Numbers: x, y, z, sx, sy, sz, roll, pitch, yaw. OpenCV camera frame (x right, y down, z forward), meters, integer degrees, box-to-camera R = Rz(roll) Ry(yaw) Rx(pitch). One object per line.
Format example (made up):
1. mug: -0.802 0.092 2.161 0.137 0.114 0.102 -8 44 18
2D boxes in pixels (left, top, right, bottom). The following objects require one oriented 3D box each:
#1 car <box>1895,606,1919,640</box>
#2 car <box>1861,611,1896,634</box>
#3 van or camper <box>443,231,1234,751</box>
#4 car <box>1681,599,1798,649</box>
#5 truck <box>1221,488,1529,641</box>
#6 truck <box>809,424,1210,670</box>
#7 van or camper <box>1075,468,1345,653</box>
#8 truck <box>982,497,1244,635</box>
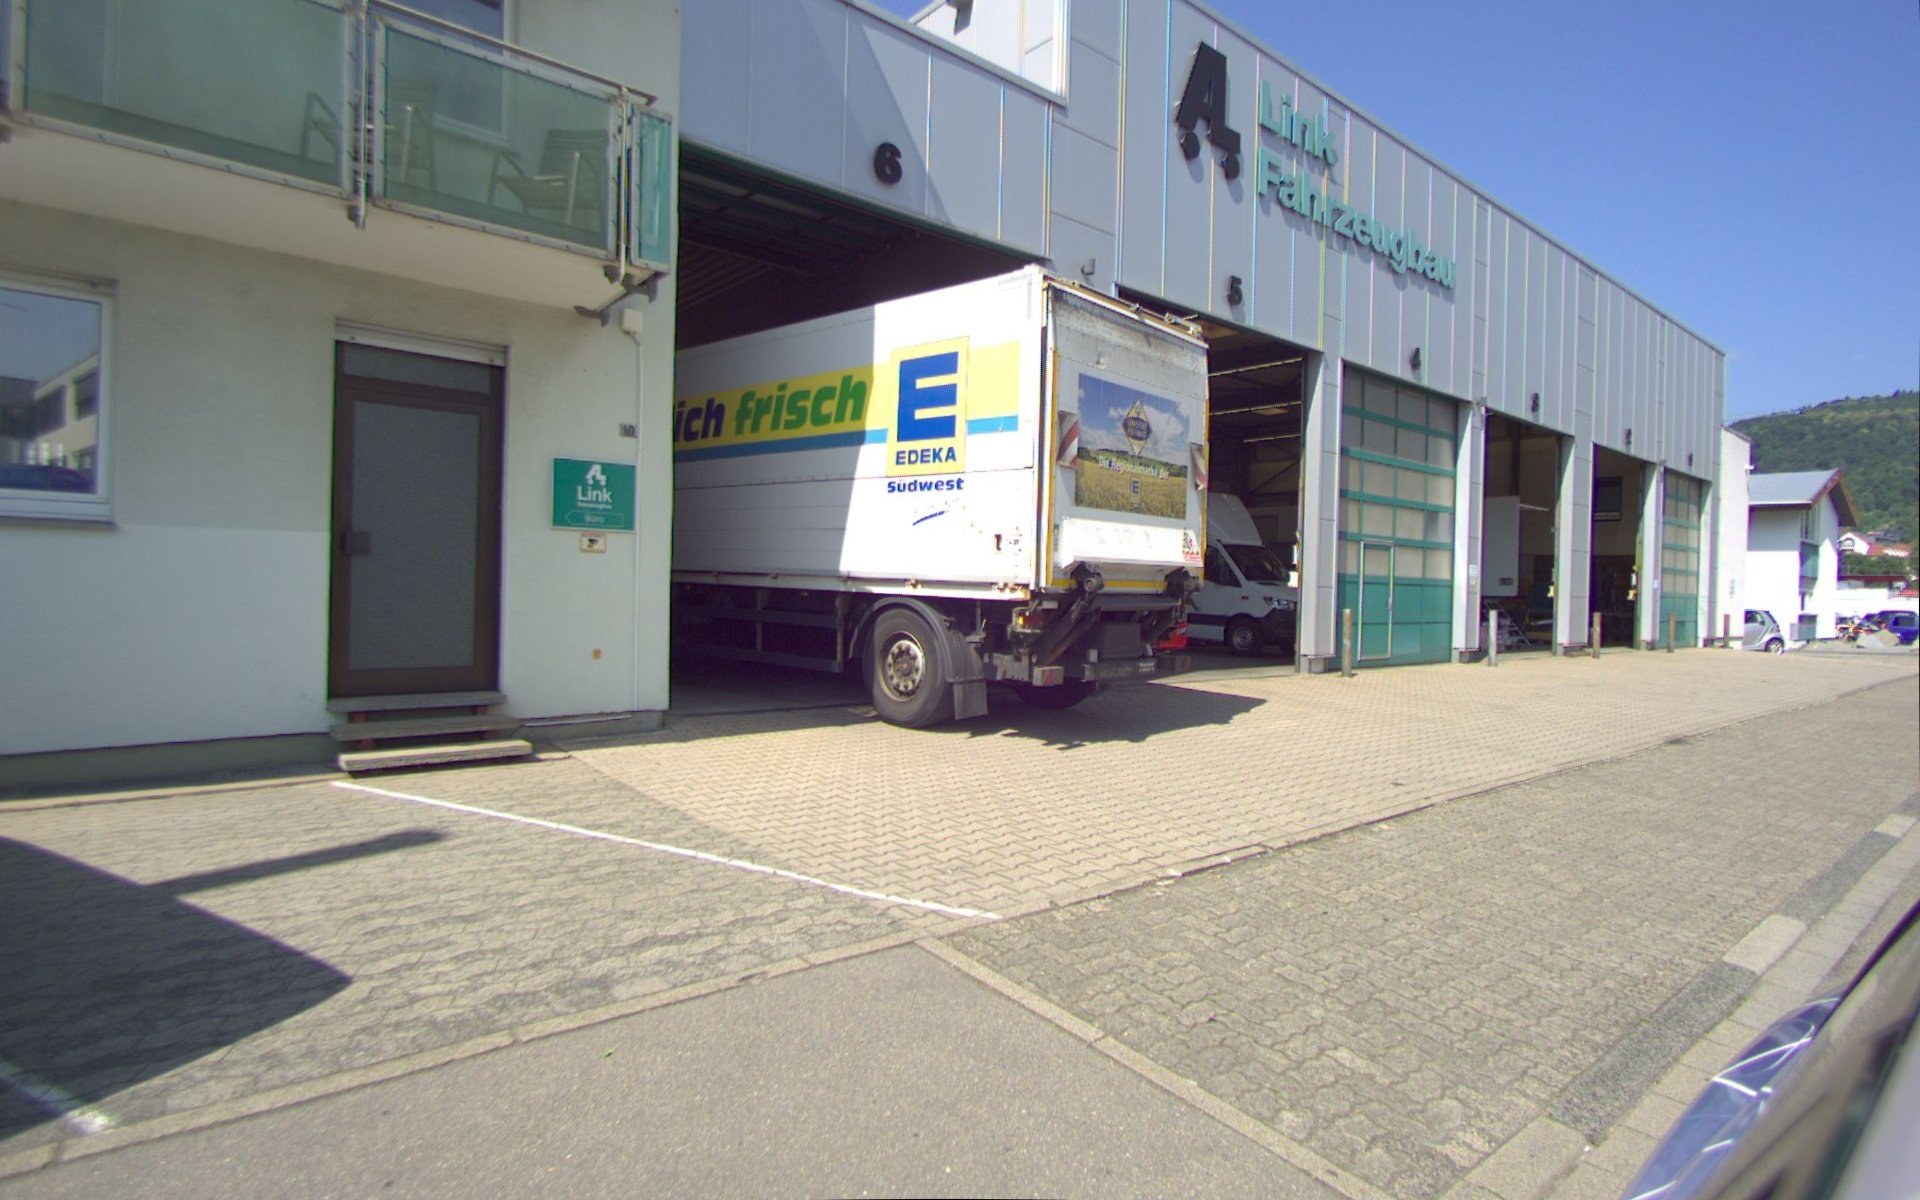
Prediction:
1. car: 39.704 0.918 40.667 1.427 1.357 2.974 0 -1 -39
2. car: 59.382 1.462 65.399 3.134 1.396 1.449 0 -1 -44
3. van or camper: -2.651 -0.980 12.286 11.600 3.738 2.737 3 1 44
4. car: 25.758 0.788 33.502 2.772 1.553 1.311 1 -1 3
5. truck: 11.597 -0.998 29.114 2.577 3.829 7.854 1 1 -39
6. truck: 0.422 -0.857 18.071 2.435 3.446 7.970 1 1 -39
7. van or camper: 4.866 -0.730 20.336 1.966 3.246 5.050 0 1 -42
8. truck: 4.193 -0.971 29.407 2.720 3.502 7.569 1 1 -40
